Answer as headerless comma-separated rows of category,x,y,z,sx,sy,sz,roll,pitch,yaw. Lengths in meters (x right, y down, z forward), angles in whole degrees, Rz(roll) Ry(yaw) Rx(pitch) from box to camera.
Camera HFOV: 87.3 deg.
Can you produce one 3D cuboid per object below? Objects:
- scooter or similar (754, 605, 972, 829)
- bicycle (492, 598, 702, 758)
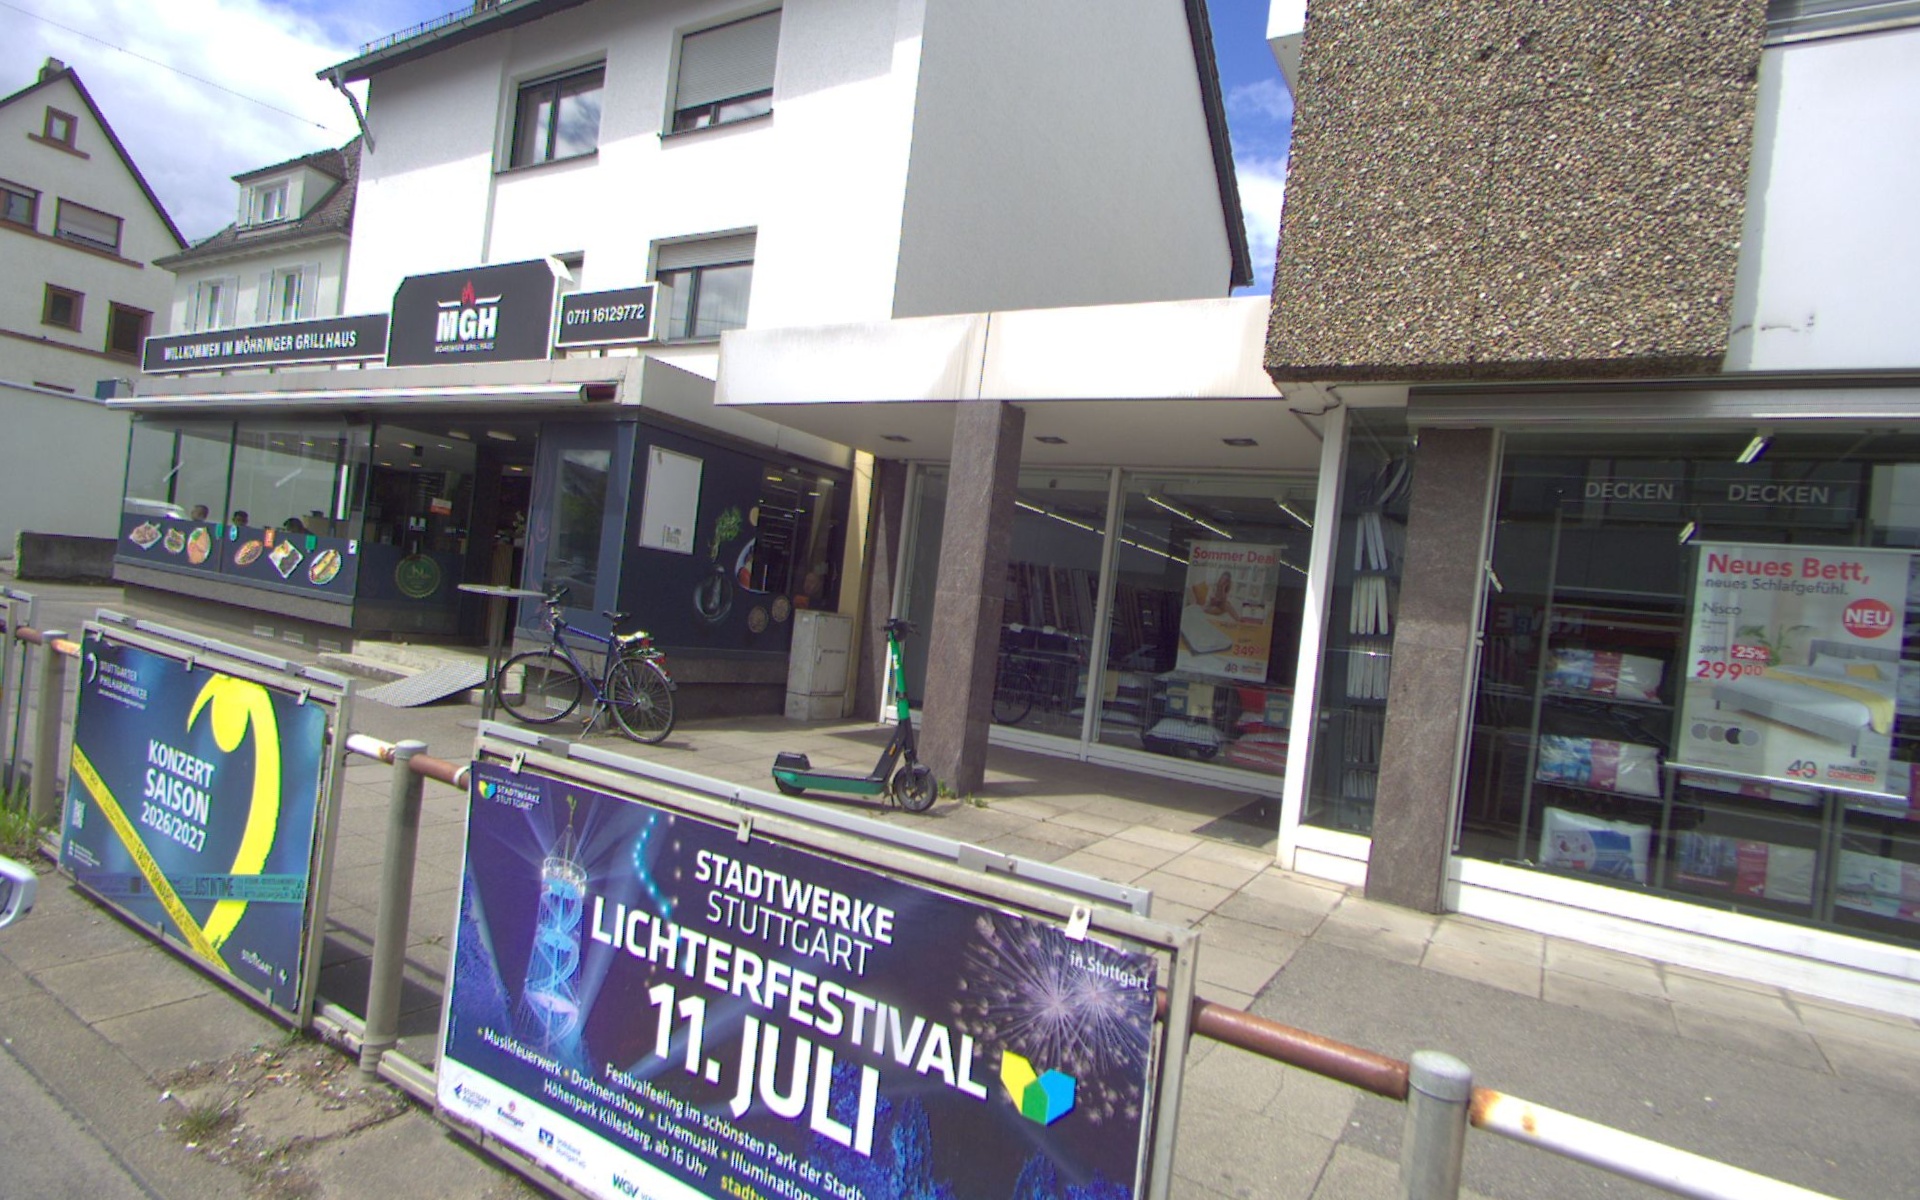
scooter or similar,-0.640,0.744,6.779,1.163,1.283,0.689,6,1,19
bicycle,-2.943,0.600,8.134,1.606,1.041,0.476,7,1,23
